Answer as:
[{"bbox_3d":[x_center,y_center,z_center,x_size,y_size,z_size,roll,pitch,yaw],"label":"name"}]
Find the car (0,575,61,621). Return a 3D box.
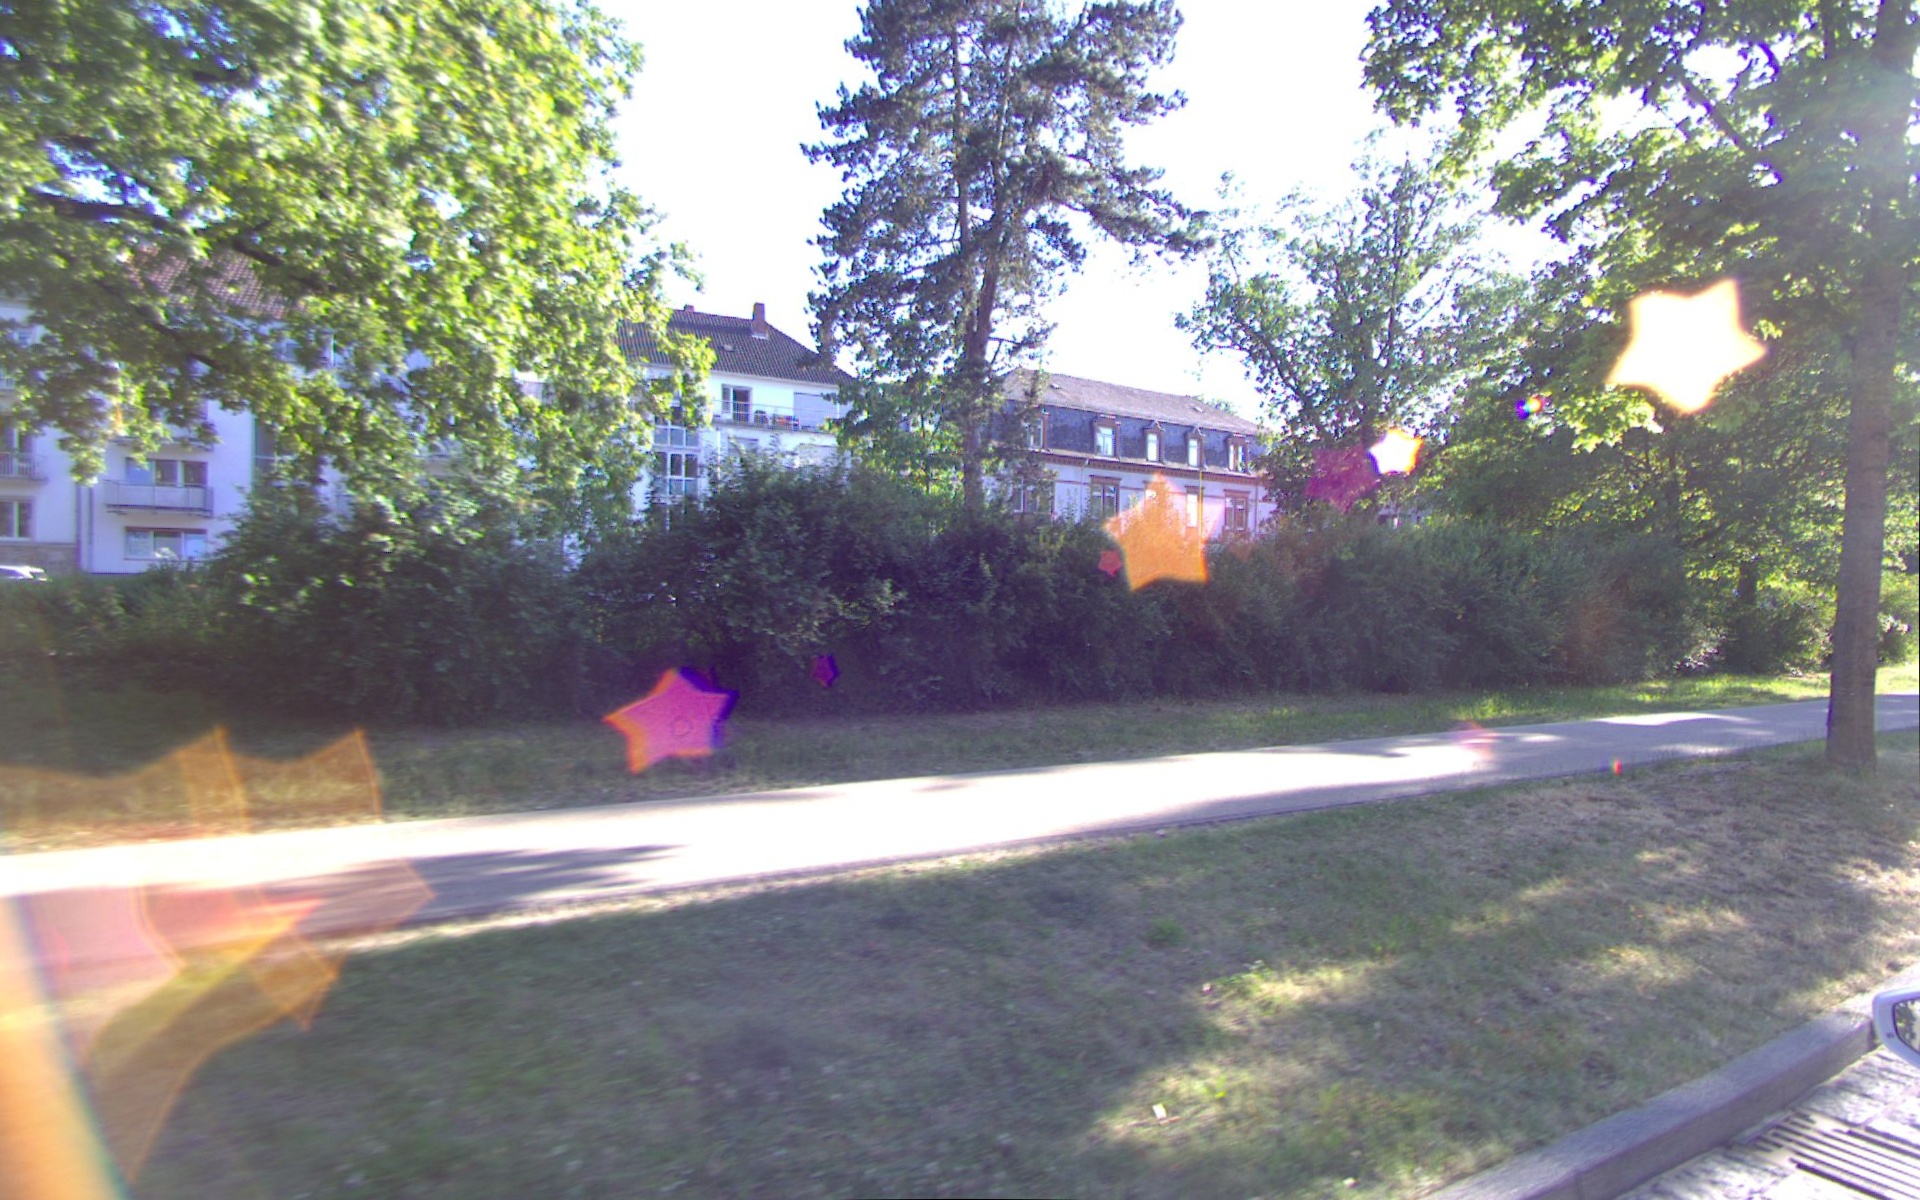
[{"bbox_3d":[-35.221,-0.125,35.896,4.155,1.603,1.927,1,1,-22],"label":"car"}]
